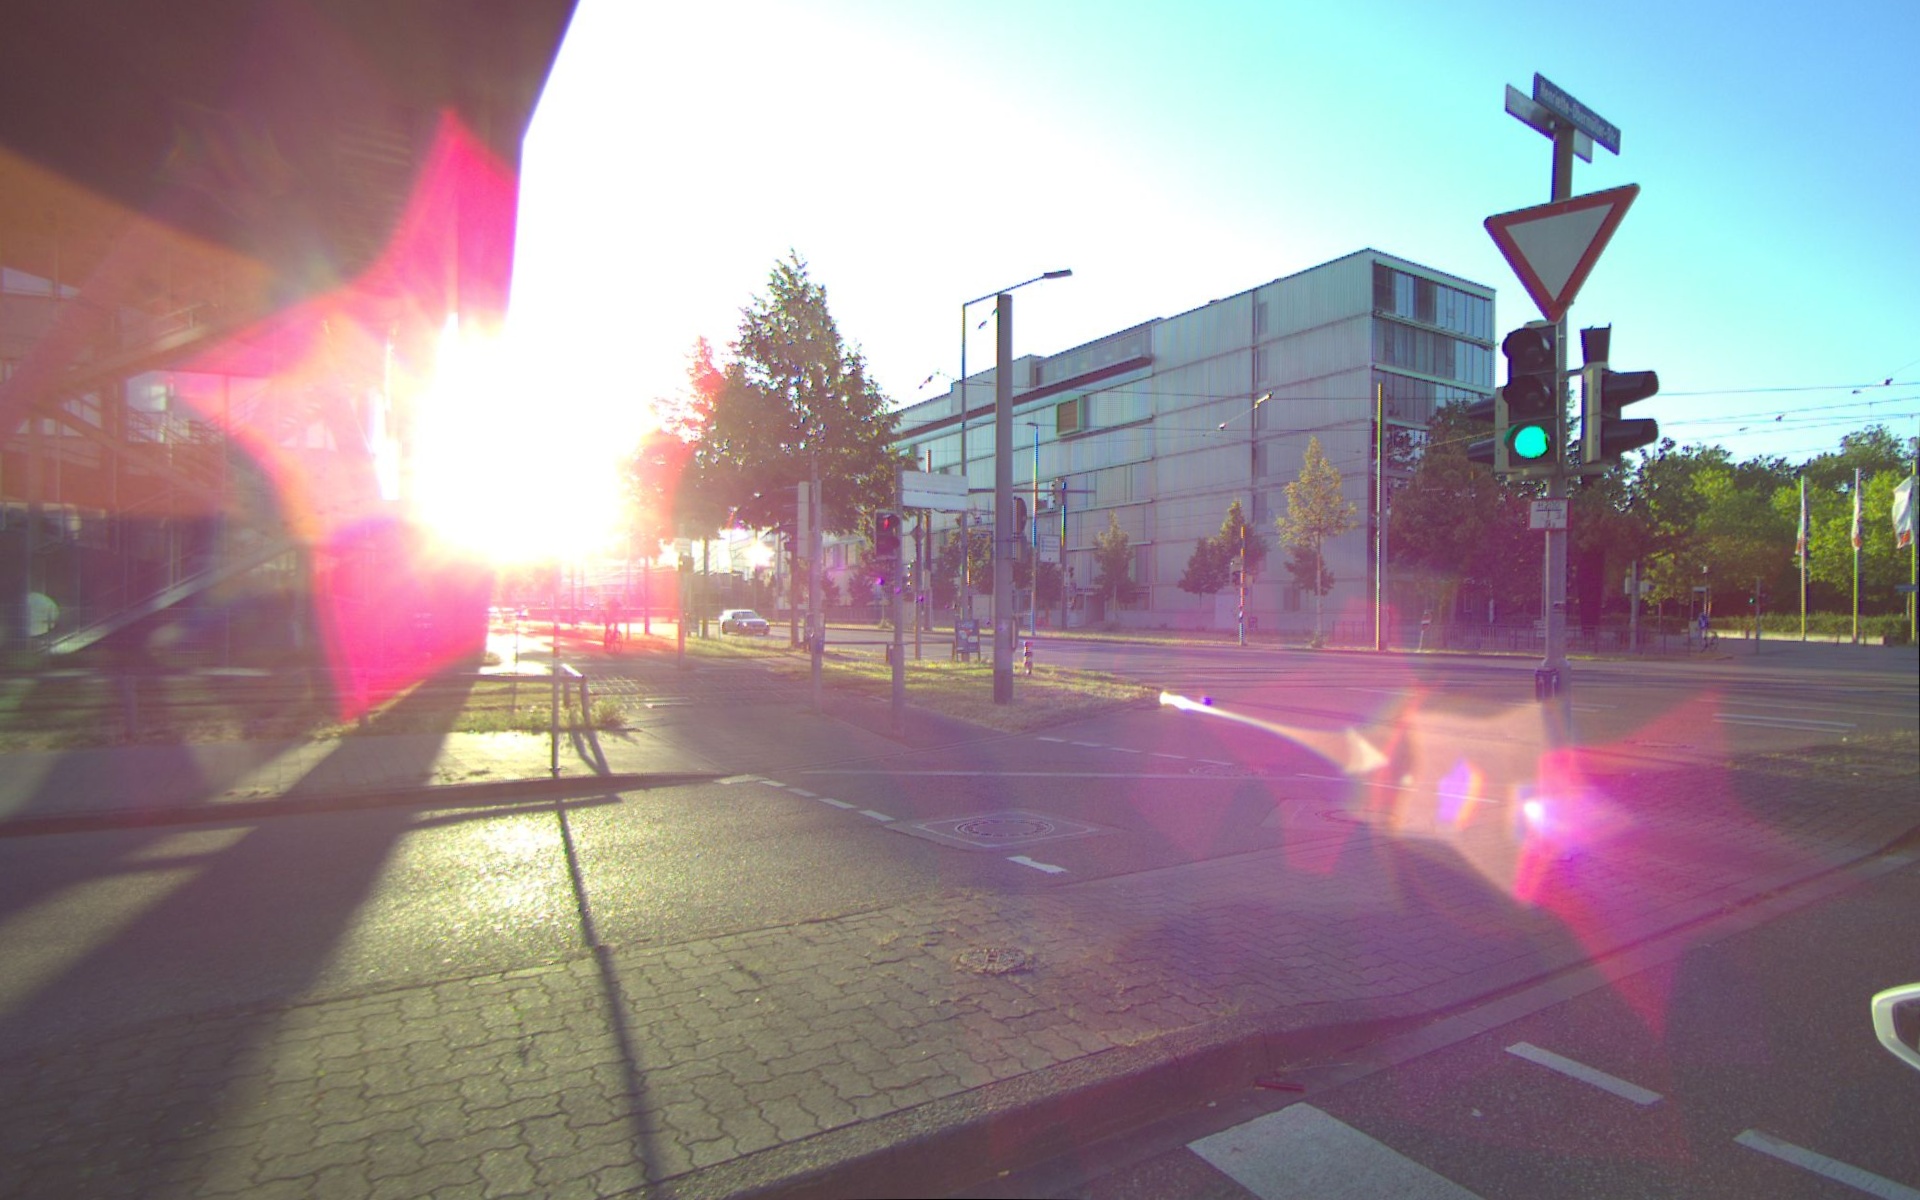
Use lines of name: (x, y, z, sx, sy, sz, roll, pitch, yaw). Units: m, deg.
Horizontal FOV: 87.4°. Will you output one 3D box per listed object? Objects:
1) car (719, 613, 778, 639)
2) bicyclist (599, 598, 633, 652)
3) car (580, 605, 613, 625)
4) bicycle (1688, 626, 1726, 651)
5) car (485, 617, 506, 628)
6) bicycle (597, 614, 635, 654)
car: (-12.381, 1.510, 58.582, 1.980, 1.439, 3.960, 1, -1, -35)
bicyclist: (-10.889, 0.783, 31.770, 0.798, 1.655, 1.278, 1, -1, -30)
car: (-33.862, 1.391, 93.528, 1.979, 1.729, 3.962, 1, -1, -34)
bicycle: (35.713, 1.825, 48.002, 2.368, 1.151, 0.695, 1, -1, -34)
car: (-62.665, 2.996, 135.441, 1.979, 1.439, 3.962, 1, -1, -34)
bicycle: (-10.881, 1.054, 31.743, 0.734, 1.223, 2.093, 1, -1, -30)
